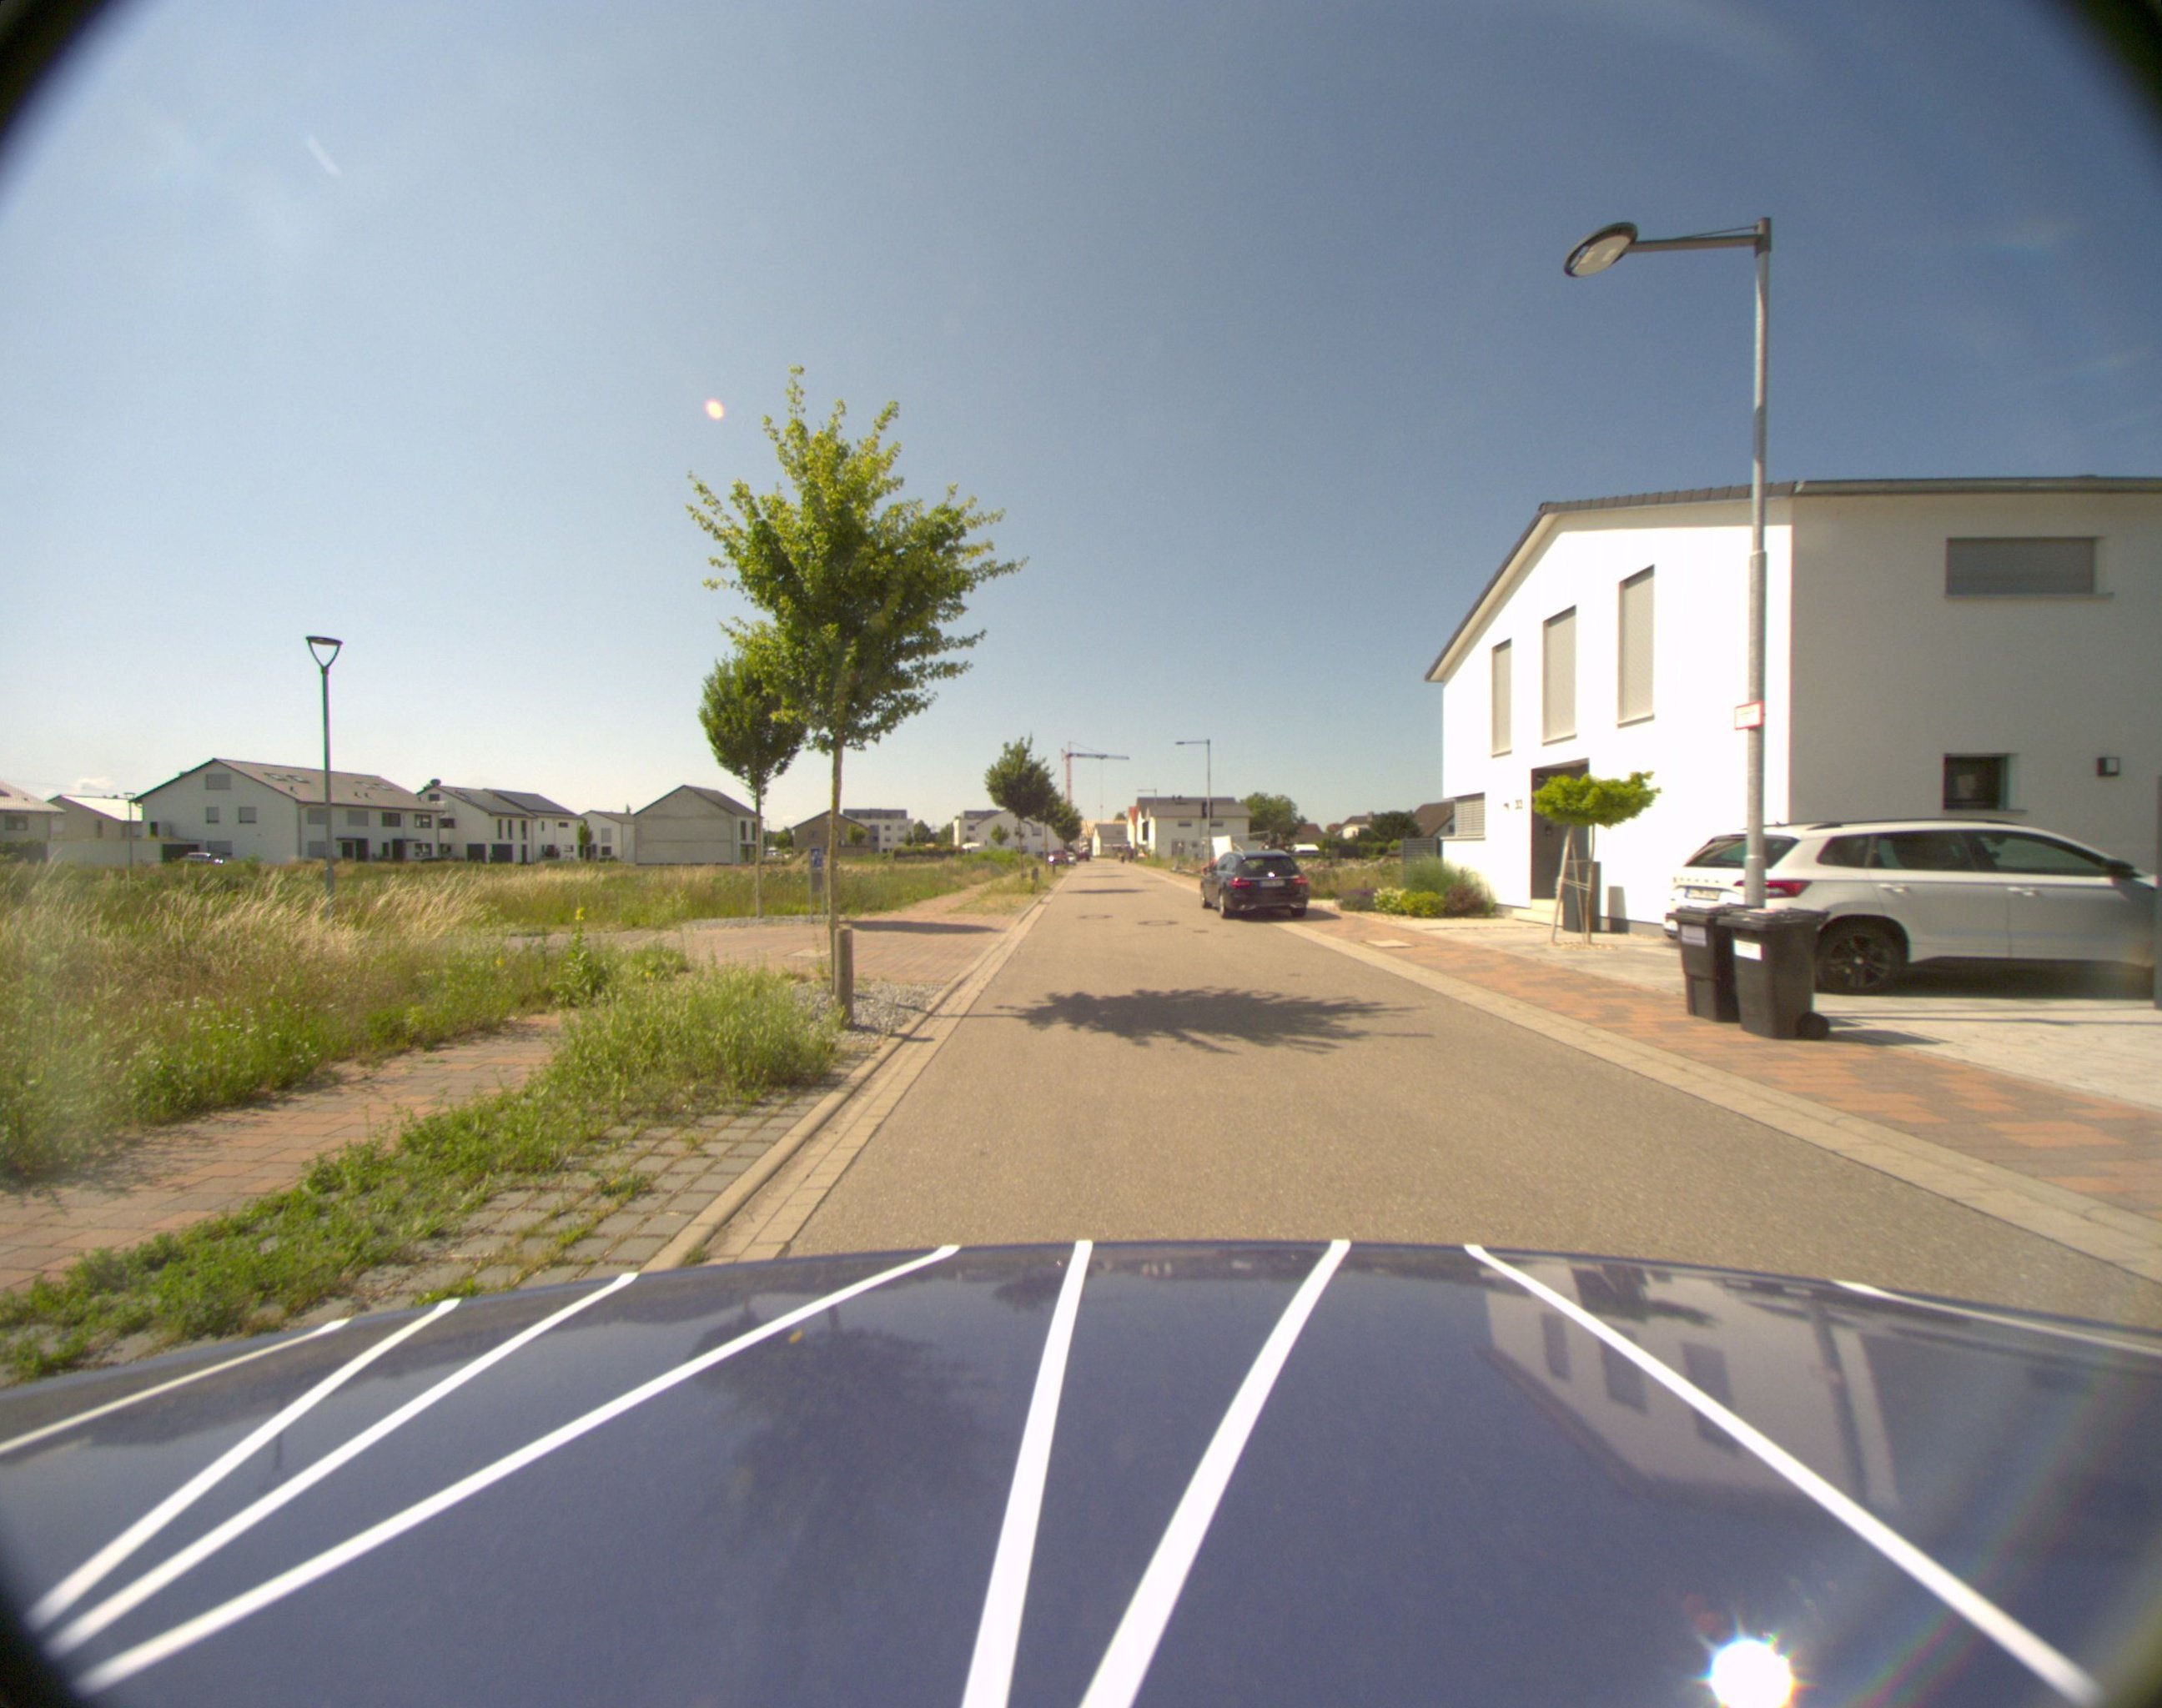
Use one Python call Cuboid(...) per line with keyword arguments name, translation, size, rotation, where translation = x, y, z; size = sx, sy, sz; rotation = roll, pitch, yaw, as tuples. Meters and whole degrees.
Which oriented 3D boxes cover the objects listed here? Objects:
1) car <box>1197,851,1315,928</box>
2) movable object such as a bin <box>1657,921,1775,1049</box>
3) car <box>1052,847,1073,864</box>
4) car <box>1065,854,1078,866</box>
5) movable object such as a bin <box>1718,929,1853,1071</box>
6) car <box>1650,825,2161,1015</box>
Cuboid(name="car", translation=(3.838, 0.694, 17.393), size=(1.695, 1.464, 4.444), rotation=(-2, 1, 1))
Cuboid(name="movable object such as a bin", translation=(5.041, 1.021, 6.058), size=(0.487, 0.920, 0.530), rotation=(-1, 1, -2))
Cuboid(name="car", translation=(-1.665, 0.156, 69.423), size=(1.769, 1.483, 4.000), rotation=(-1, 1, 0))
Cuboid(name="car", translation=(-1.077, 0.671, 88.727), size=(1.493, 1.389, 3.272), rotation=(-1, 1, 0))
Cuboid(name="movable object such as a bin", translation=(5.084, 1.031, 5.508), size=(0.487, 0.920, 0.530), rotation=(-1, 1, -2))
Cuboid(name="car", translation=(8.301, 0.580, 7.467), size=(3.962, 1.610, 1.795), rotation=(-1, 1, 8))
